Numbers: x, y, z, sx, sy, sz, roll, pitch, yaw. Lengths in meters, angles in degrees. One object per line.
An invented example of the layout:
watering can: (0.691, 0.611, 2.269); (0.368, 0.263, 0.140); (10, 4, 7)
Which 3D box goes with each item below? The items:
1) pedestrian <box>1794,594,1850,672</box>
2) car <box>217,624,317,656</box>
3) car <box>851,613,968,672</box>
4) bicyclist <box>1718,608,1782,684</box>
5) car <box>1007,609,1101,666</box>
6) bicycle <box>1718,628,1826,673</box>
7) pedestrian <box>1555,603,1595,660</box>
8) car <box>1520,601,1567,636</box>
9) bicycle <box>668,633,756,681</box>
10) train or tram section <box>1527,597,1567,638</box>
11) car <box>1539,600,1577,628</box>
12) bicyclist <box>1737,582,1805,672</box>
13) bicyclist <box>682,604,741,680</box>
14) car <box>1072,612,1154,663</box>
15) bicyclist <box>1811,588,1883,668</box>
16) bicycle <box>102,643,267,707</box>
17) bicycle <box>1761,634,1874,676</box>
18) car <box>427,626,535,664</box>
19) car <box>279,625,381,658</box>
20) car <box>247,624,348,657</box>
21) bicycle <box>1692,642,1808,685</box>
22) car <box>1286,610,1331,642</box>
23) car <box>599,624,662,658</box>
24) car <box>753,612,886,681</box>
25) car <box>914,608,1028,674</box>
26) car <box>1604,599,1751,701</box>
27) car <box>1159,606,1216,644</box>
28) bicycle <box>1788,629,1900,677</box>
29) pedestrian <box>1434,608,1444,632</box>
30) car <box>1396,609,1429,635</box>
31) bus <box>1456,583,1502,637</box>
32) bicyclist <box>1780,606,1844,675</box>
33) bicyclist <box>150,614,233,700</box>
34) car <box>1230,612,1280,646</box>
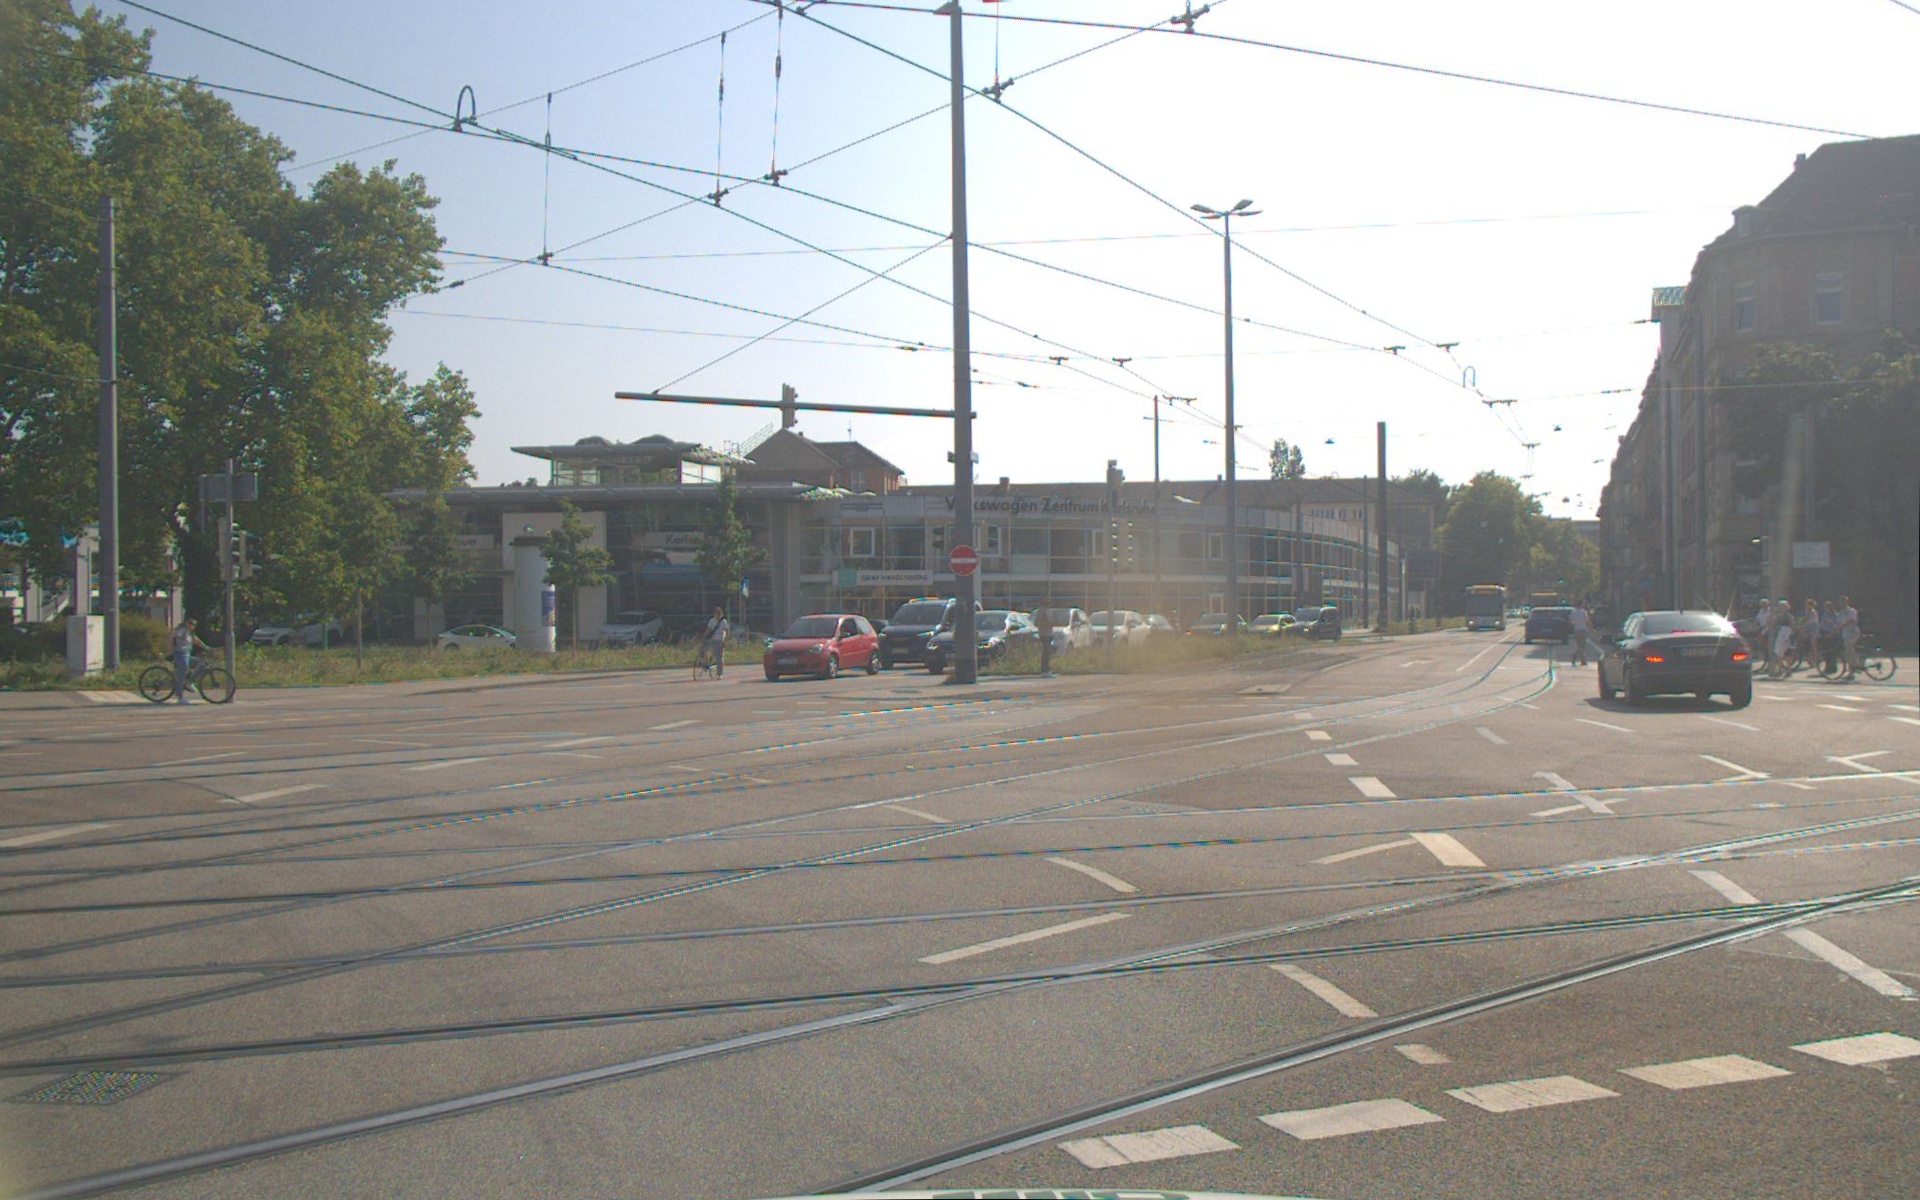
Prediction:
pedestrian: (20.539, 0.772, 39.409); (0.918, 1.828, 0.849); (0, -1, -37)
car: (-35.215, 2.012, 84.175); (1.671, 1.549, 4.498); (-1, -1, 35)
car: (-1.348, 1.147, 45.818); (1.919, 1.501, 4.001); (-3, -1, 19)
bicyclist: (19.351, 1.110, 40.541); (0.920, 1.831, 1.087); (0, -1, -19)
car: (2.718, 1.052, 47.062); (1.580, 1.501, 4.001); (-3, -1, 19)
bicycle: (18.812, 1.146, 38.307); (2.594, 0.981, 1.081); (0, -1, -33)
pedestrian: (16.732, 0.863, 45.009); (0.763, 1.530, 0.709); (0, -1, -8)
car: (25.329, 0.803, 71.699); (1.788, 1.453, 4.412); (-1, 0, 21)
bicycle: (-5.899, 1.333, 39.529); (0.938, 1.075, 2.608); (0, -1, 20)
train or tram section: (56.702, 1.638, 159.898); (2.598, 3.764, 10.597); (-1, 0, 14)
car: (32.162, 0.725, 89.092); (1.787, 1.453, 4.414); (-1, 0, 18)
bicyclist: (18.770, 0.616, 38.292); (0.925, 2.060, 1.081); (0, -1, -33)
bicyclist: (-5.920, 0.987, 39.472); (0.938, 1.779, 1.166); (0, -1, 20)
car: (4.858, 1.168, 52.111); (1.581, 1.501, 4.001); (-3, -1, 20)
bicyclist: (19.608, 0.607, 36.575); (0.925, 1.738, 1.081); (0, -1, -33)
bicycle: (-14.392, 1.394, 30.778); (2.552, 1.075, 0.958); (2, -1, -10)
bicycle: (21.742, 1.382, 41.942); (2.579, 0.981, 1.087); (0, 0, -20)
car: (-20.063, 1.860, 69.368); (3.998, 1.549, 1.706); (0, -1, 9)
car: (-30.773, 1.995, 80.875); (1.671, 1.549, 4.498); (-1, -1, 35)
car: (-32.712, 1.963, 81.762); (1.671, 1.549, 4.498); (-1, -1, 35)
bicycle: (19.367, 1.538, 40.544); (2.579, 0.981, 1.087); (0, 0, -20)
car: (17.545, 1.278, 83.177); (1.581, 1.501, 4.001); (-3, -1, 20)
car: (-15.742, 1.942, 79.189); (1.663, 1.549, 4.102); (0, -1, 8)
car: (-3.245, 1.066, 38.950); (1.580, 1.501, 4.001); (-3, -1, 19)
car: (0.327, 0.996, 40.933); (1.580, 1.501, 4.001); (-3, -1, 19)
car: (11.231, 0.760, 26.137); (1.647, 1.468, 4.374); (-1, -1, 17)
car: (9.744, 1.047, 70.619); (1.581, 1.501, 4.001); (-3, -1, 20)
bicycle: (19.528, 1.154, 36.518); (2.594, 0.981, 1.081); (0, -1, -33)
pedestrian: (32.231, 1.351, 111.235); (0.583, 1.659, 0.637); (0, -1, 21)
car: (28.070, 1.350, 102.621); (1.581, 1.501, 4.001); (-3, -1, 20)
bus: (38.054, 0.756, 121.716); (2.859, 3.682, 16.756); (0, -1, 16)
bicyclist: (21.562, 1.009, 41.874); (0.920, 1.709, 1.087); (0, -1, -19)
bicyclist: (-14.298, 1.047, 30.803); (1.141, 1.554, 0.958); (2, -1, -10)
car: (13.813, 1.358, 77.417); (1.581, 1.501, 4.001); (-3, -1, 20)
